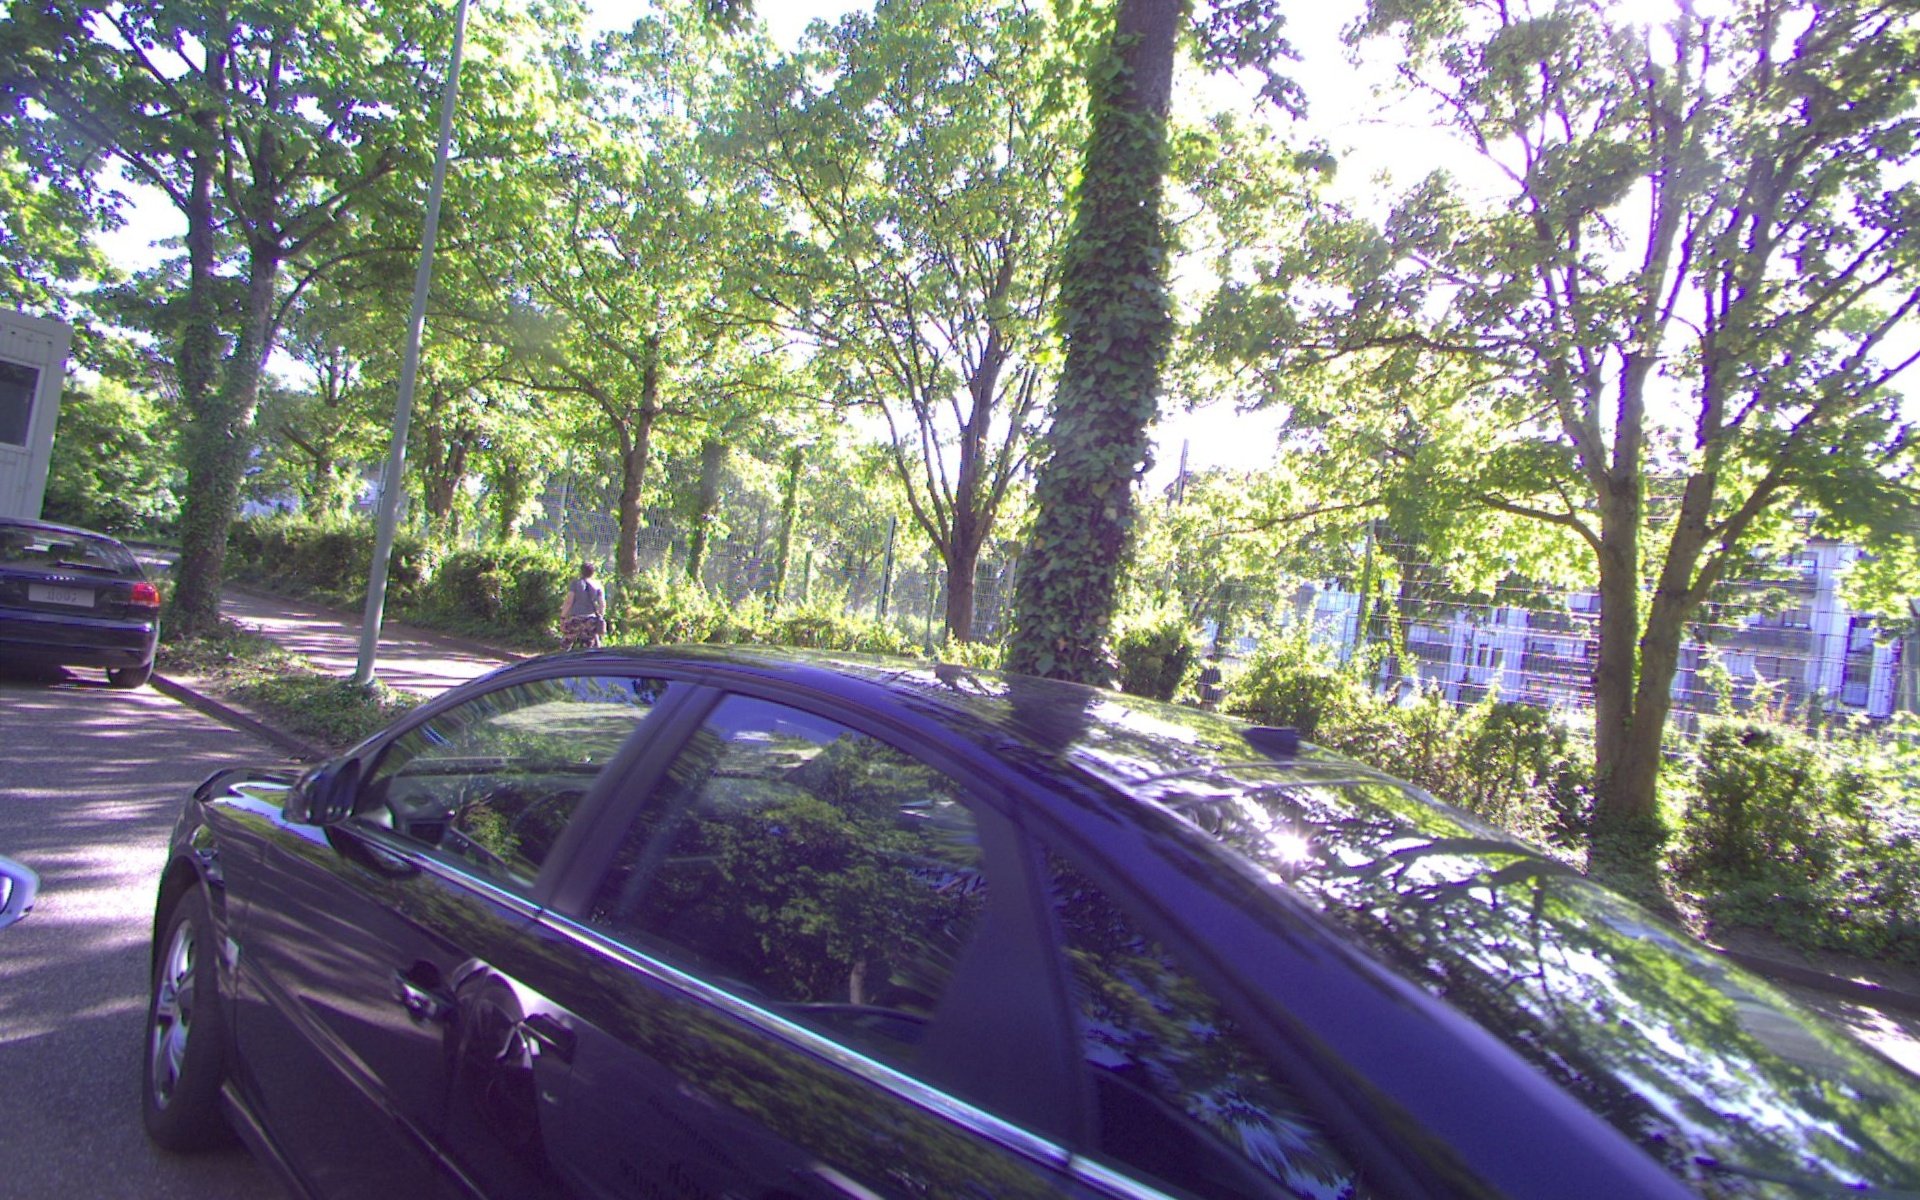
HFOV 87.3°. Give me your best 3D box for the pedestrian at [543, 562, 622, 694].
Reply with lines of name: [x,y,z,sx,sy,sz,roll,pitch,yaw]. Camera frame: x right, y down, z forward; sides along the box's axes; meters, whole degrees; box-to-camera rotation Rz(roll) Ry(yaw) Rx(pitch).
pedestrian: [-4.966,0.360,13.237,0.570,1.626,0.663,9,-1,-42]

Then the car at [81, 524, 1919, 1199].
car: [-0.282,0.793,2.188,3.973,1.496,1.749,6,-3,40]

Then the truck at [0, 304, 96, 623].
truck: [-16.900,-2.342,15.721,10.193,4.039,2.776,7,-3,38]

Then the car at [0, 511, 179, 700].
car: [-9.168,-0.115,9.506,3.937,1.436,1.642,7,-3,36]
